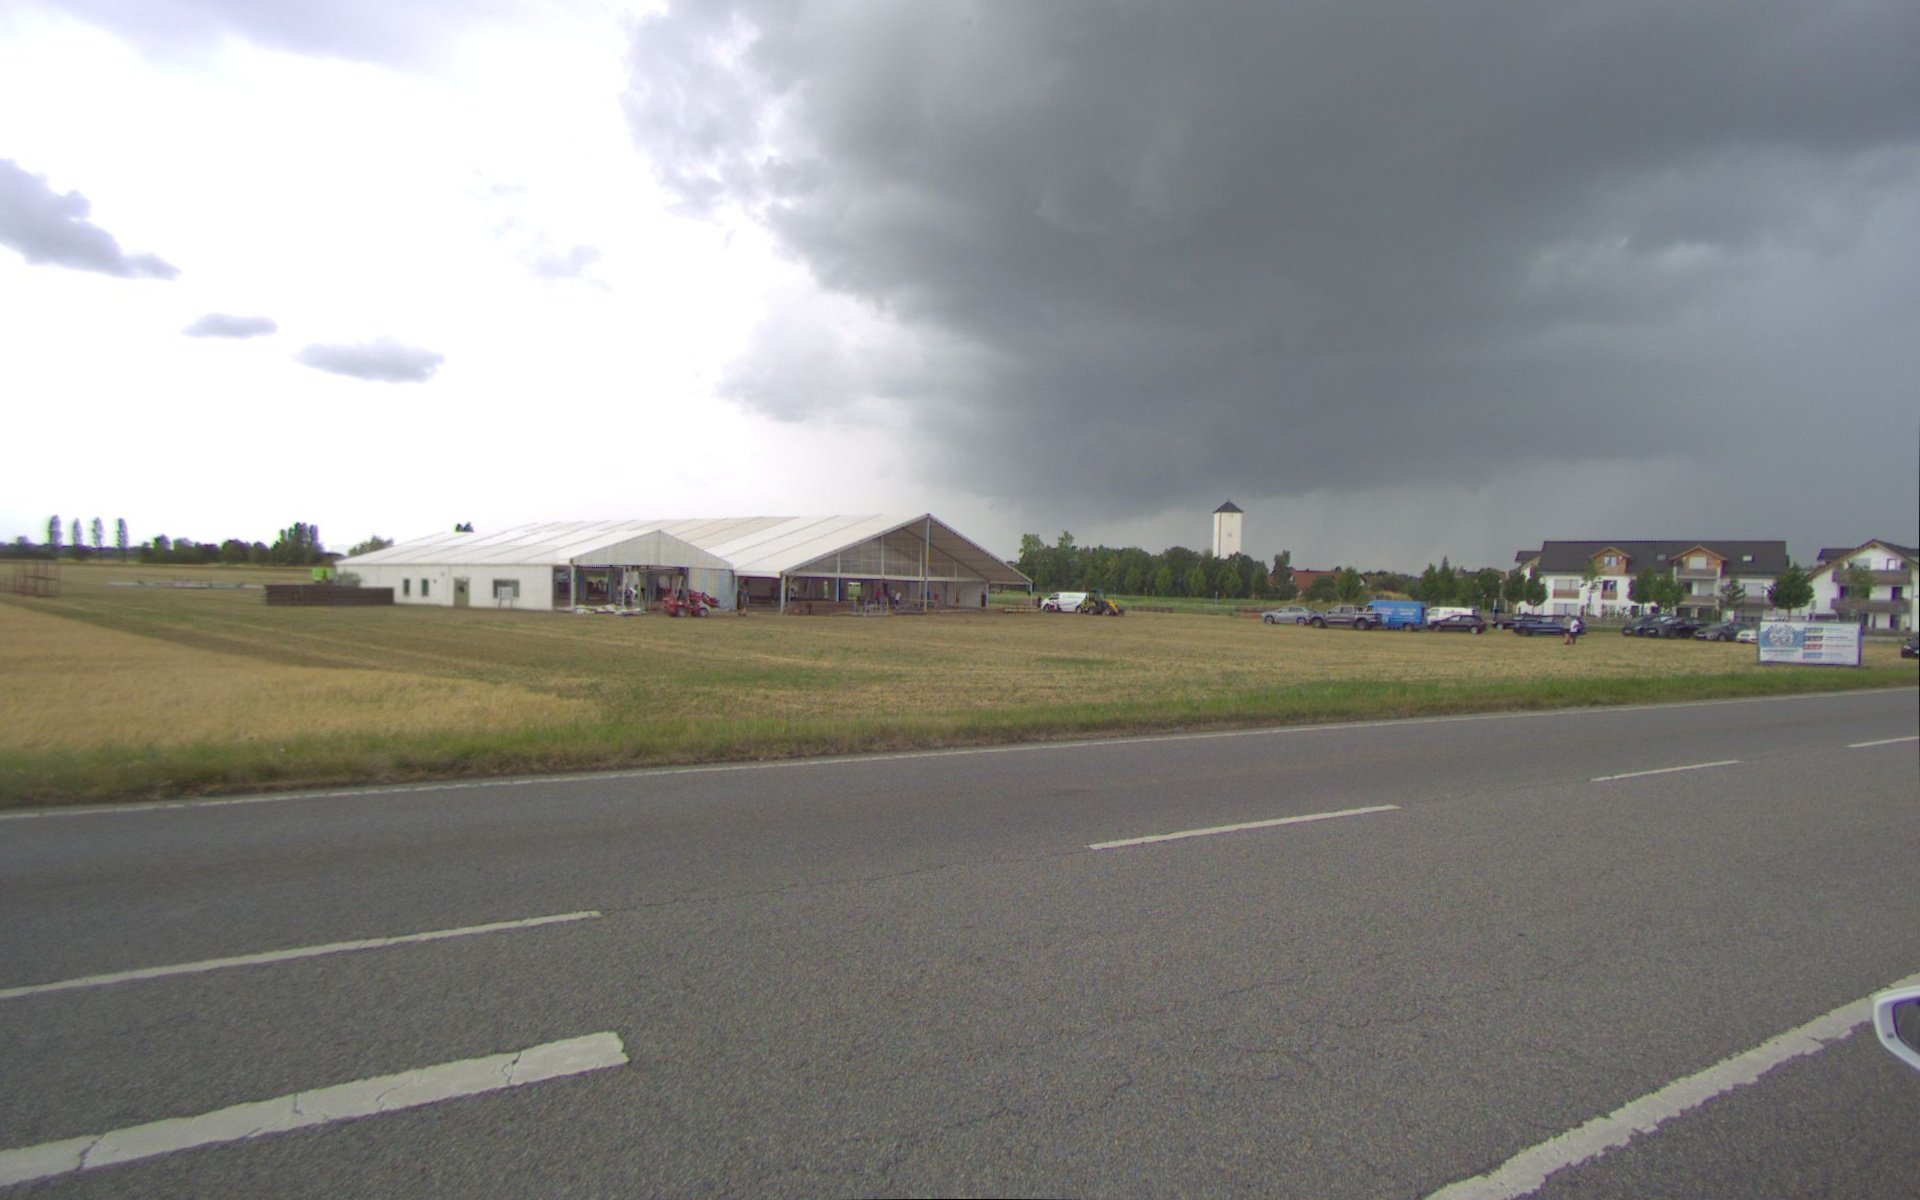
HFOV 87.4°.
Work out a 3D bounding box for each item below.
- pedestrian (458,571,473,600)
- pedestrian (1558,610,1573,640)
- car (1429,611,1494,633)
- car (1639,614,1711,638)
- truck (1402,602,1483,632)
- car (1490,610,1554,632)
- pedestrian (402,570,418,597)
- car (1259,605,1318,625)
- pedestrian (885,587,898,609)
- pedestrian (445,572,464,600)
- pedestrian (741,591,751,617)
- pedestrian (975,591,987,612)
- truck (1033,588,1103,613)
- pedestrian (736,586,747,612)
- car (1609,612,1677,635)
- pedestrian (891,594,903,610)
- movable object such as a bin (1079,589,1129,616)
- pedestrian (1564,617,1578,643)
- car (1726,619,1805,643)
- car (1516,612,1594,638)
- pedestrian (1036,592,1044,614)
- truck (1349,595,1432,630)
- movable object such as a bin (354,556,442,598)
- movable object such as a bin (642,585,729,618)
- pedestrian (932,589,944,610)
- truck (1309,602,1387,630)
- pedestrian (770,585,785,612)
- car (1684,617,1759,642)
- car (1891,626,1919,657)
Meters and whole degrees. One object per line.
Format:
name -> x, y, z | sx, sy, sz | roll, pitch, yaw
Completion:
pedestrian -> -37.520, -1.085, 76.238 | 0.930, 2.130, 0.860 | 1, 1, -31
pedestrian -> 36.526, 1.506, 60.570 | 0.673, 1.809, 0.543 | 1, 1, -42
car -> 38.559, 1.684, 77.330 | 4.106, 1.539, 1.991 | 2, 0, 40
car -> 52.177, 1.905, 73.351 | 4.138, 1.651, 1.995 | 1, 0, -12
truck -> 39.257, 1.337, 81.822 | 5.494, 2.226, 2.597 | 2, 0, 38
car -> 48.634, 1.802, 86.966 | 4.571, 1.720, 1.991 | 2, 0, 40
pedestrian -> -43.123, -1.296, 78.756 | 1.010, 2.040, 0.803 | 2, 1, 41
car -> 26.974, 1.201, 82.519 | 4.236, 1.481, 1.886 | 2, 0, 34
pedestrian -> -5.722, -0.137, 83.908 | 0.689, 1.799, 0.682 | 1, 1, -41
pedestrian -> -37.727, -1.044, 74.984 | 1.005, 2.040, 0.806 | 2, 1, -1
pedestrian -> -13.375, 0.245, 62.785 | 0.541, 1.649, 0.546 | 2, 0, -6
pedestrian -> 1.825, 0.145, 86.442 | 0.684, 1.799, 0.687 | 2, 1, 42
truck -> 10.242, 0.040, 95.538 | 5.960, 2.246, 2.713 | 2, 0, 33
pedestrian -> -13.824, -0.058, 63.516 | 0.573, 1.649, 0.470 | 2, 0, -7
car -> 52.514, 1.814, 77.252 | 4.138, 1.651, 1.995 | 1, 0, -12
pedestrian -> -5.130, 0.169, 81.782 | 0.689, 1.288, 0.682 | 1, 1, -41
movable object such as a bin -> 12.802, 0.208, 89.465 | 3.929, 2.273, 1.881 | 2, 1, 33
pedestrian -> 37.144, 1.830, 61.071 | 0.582, 1.576, 0.623 | 2, 1, 41
car -> 54.324, 2.082, 67.766 | 4.138, 1.465, 1.995 | 1, 0, -12
car -> 43.383, 1.798, 73.275 | 4.660, 1.720, 1.991 | 2, 0, 40
pedestrian -> 7.059, 0.240, 88.712 | 0.694, 1.890, 0.626 | 2, 1, 6
truck -> 33.131, 0.971, 77.361 | 5.379, 2.478, 2.385 | 2, 1, 38
movable object such as a bin -> -47.960, -1.987, 85.660 | 7.466, 3.220, 4.139 | 3, 1, 40
movable object such as a bin -> -16.734, 0.092, 61.373 | 2.556, 1.889, 4.457 | 2, 0, 37
pedestrian -> -1.891, -0.026, 86.051 | 0.689, 1.799, 0.682 | 1, 1, -41
truck -> 29.290, 1.195, 75.916 | 5.155, 1.946, 2.106 | 2, 0, 34
pedestrian -> -14.368, -0.106, 79.076 | 0.867, 2.040, 0.762 | 1, 1, -30
car -> 53.327, 2.063, 70.376 | 4.138, 1.556, 1.995 | 1, 0, -12
car -> 49.165, 2.105, 51.260 | 3.969, 1.461, 1.976 | 0, 1, -41
